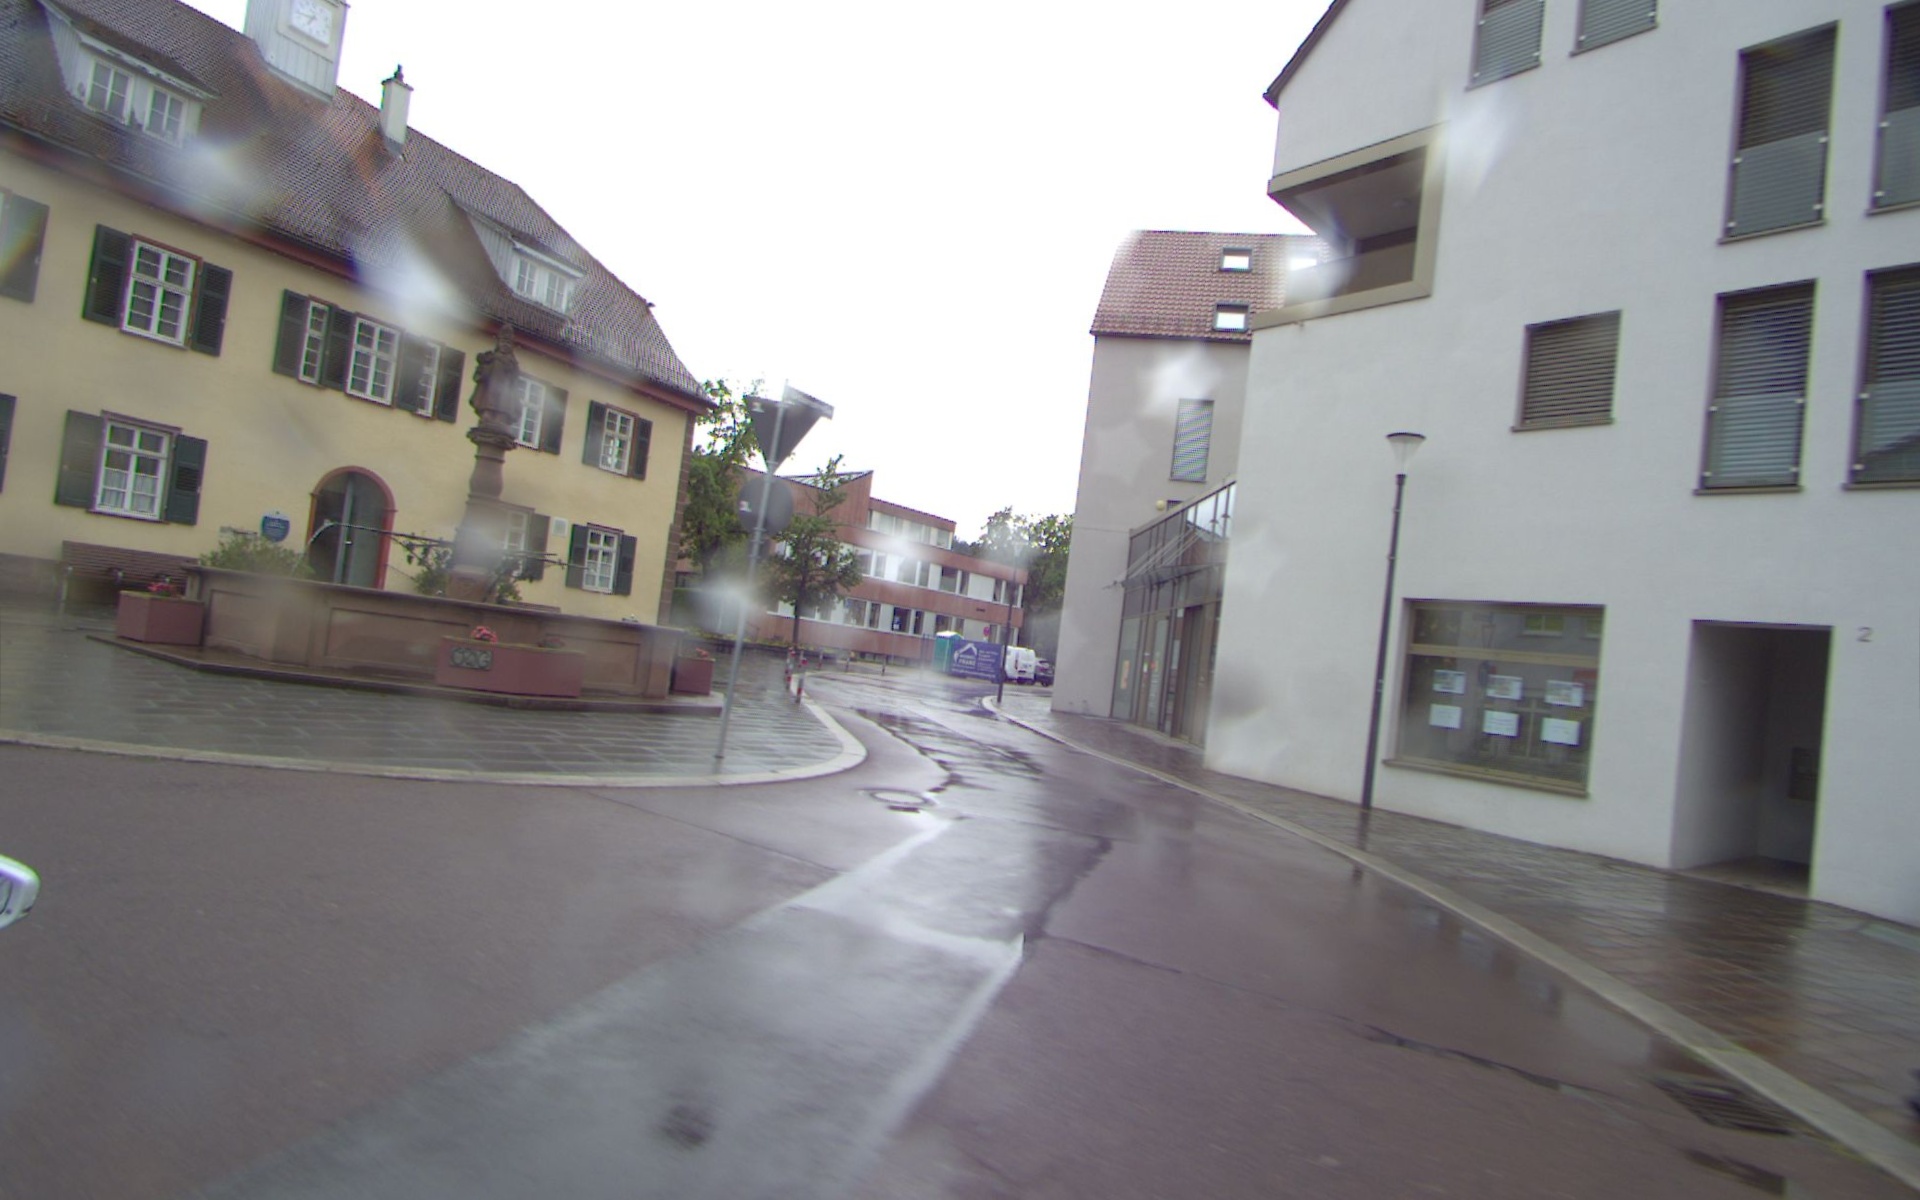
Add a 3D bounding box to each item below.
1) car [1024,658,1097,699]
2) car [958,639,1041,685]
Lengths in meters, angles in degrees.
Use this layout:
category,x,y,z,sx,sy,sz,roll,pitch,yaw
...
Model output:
category,x,y,z,sx,sy,sz,roll,pitch,yaw
car,6.318,4.917,63.187,4.079,1.947,1.724,6,-2,35
car,2.191,3.445,55.966,4.080,1.947,1.903,6,-2,36
